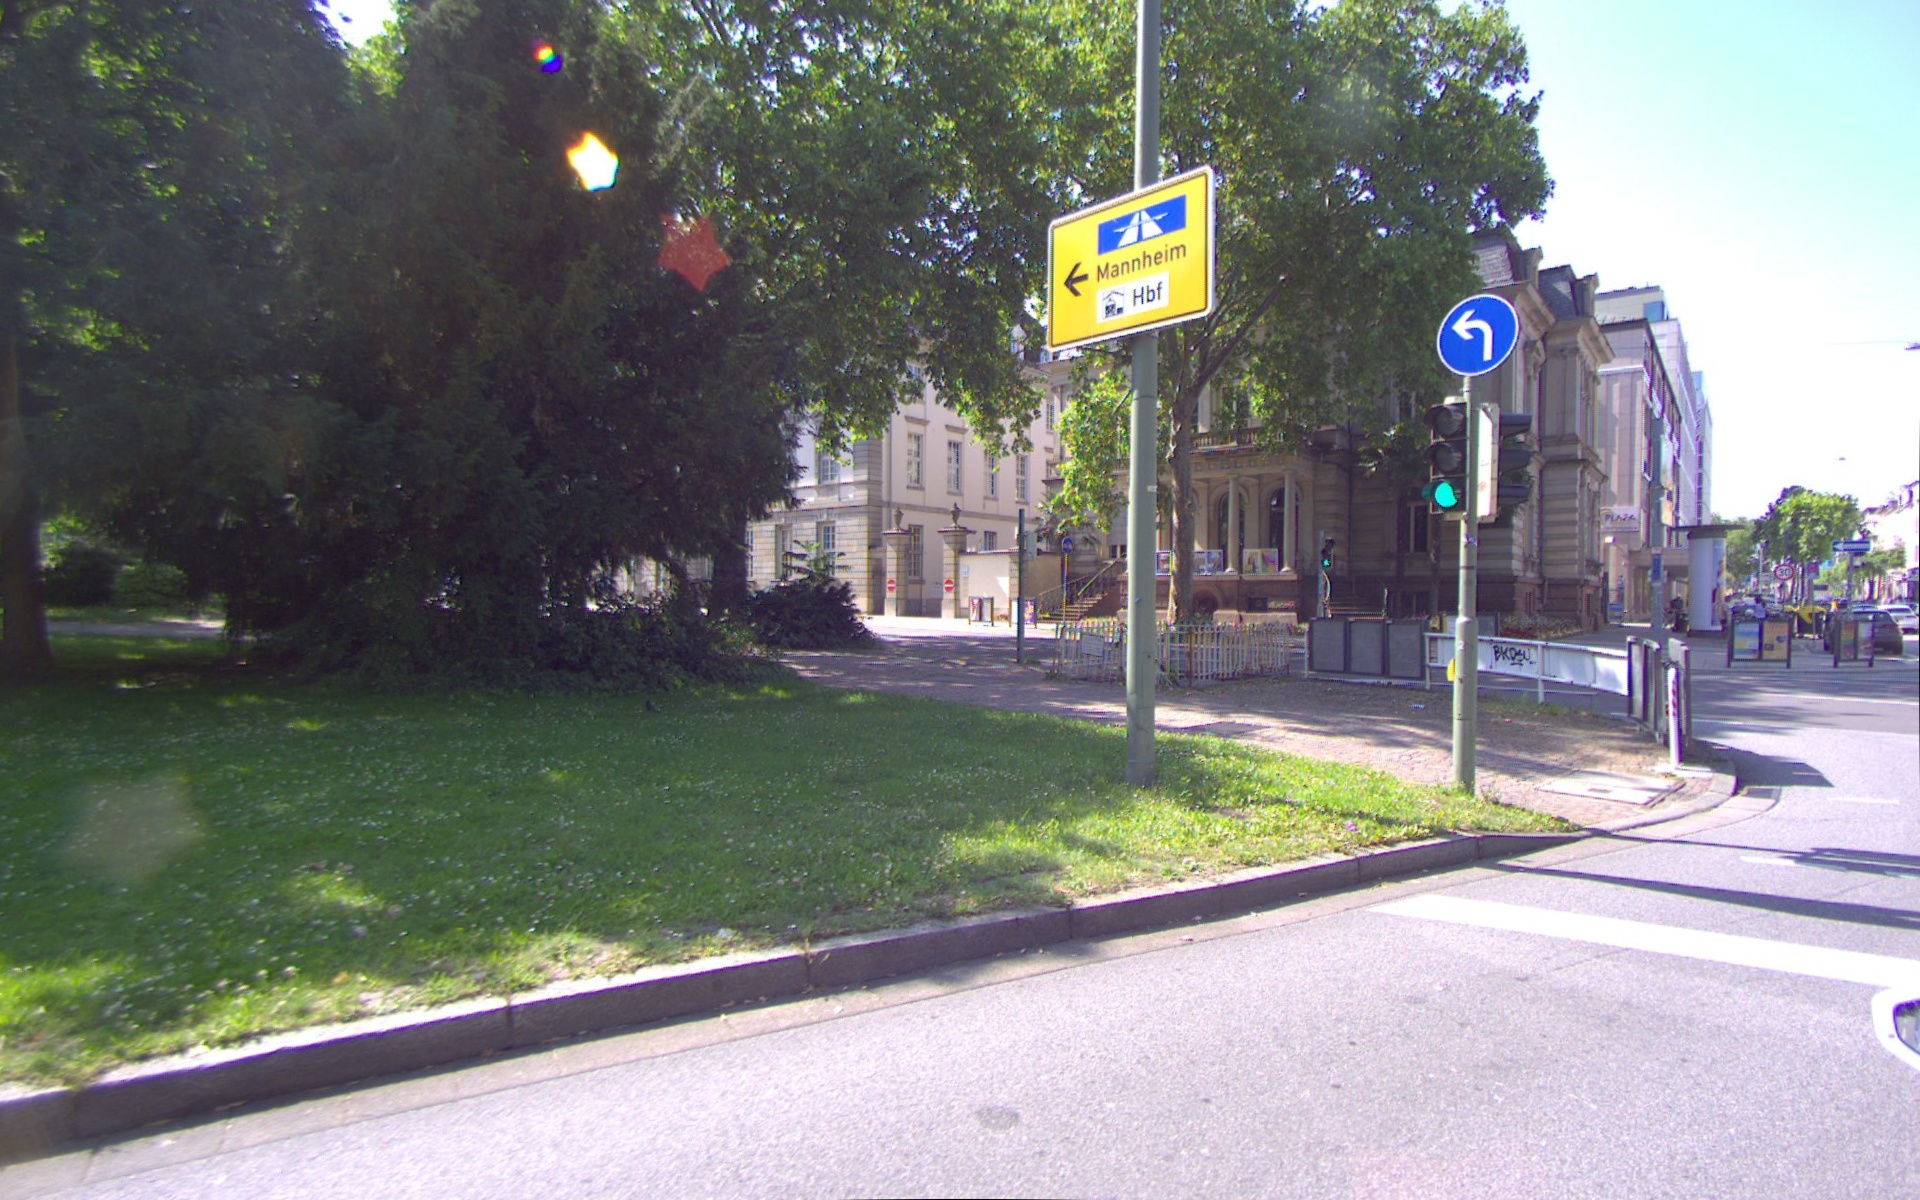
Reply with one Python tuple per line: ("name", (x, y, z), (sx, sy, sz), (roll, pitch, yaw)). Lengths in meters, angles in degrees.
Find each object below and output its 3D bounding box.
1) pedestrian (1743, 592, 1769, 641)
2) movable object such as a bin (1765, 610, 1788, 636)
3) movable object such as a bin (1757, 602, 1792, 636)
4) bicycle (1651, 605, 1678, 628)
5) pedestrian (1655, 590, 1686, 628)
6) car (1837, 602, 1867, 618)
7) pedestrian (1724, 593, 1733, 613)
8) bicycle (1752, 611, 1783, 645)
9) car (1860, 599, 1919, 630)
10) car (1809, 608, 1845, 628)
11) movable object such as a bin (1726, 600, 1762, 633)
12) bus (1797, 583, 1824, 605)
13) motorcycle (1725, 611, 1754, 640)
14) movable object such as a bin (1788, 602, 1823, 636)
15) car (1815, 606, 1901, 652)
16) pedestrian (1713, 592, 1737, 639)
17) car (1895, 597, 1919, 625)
("pedestrian", (28.078, 0.590, 35.440), (0.686, 1.717, 0.687), (0, -1, 41))
("movable object such as a bin", (37.373, 1.058, 45.981), (0.712, 1.113, 0.655), (2, 3, 31))
("movable object such as a bin", (38.275, 0.874, 47.196), (1.112, 1.470, 1.429), (3, 3, 44))
("bicycle", (33.384, 0.780, 47.640), (0.481, 1.076, 2.027), (1, 0, 18))
("pedestrian", (33.632, 0.420, 47.540), (0.982, 1.797, 0.786), (1, 0, 19))
("car", (86.447, 0.974, 97.397), (1.840, 1.460, 3.984), (0, 0, 38))
("pedestrian", (63.817, 0.225, 83.419), (0.558, 1.679, 0.635), (0, 1, 33))
("bicycle", (28.471, 0.992, 35.396), (2.226, 1.135, 0.425), (2, 1, -41))
("car", (47.235, 0.712, 51.088), (1.839, 1.460, 3.984), (1, 0, 37))
("car", (65.899, 1.372, 76.388), (1.840, 1.460, 3.984), (1, -1, 38))
("movable object such as a bin", (37.543, 0.778, 48.098), (1.196, 1.470, 1.355), (3, 3, 44))
("bus", (146.905, -1.016, 173.501), (2.733, 3.653, 8.943), (0, 0, 35))
("motorcycle", (28.070, 0.925, 36.151), (2.145, 1.011, 0.449), (1, 1, -43))
("movable object such as a bin", (39.068, 0.872, 46.409), (1.112, 1.470, 1.429), (3, 3, 44))
("car", (29.615, 0.909, 33.231), (1.913, 1.372, 4.229), (0, 0, 39))
("pedestrian", (27.745, 0.566, 36.444), (0.930, 1.687, 0.544), (2, -1, -43))
("car", (56.384, 0.658, 58.939), (1.810, 1.547, 3.984), (-1, -2, 38))
